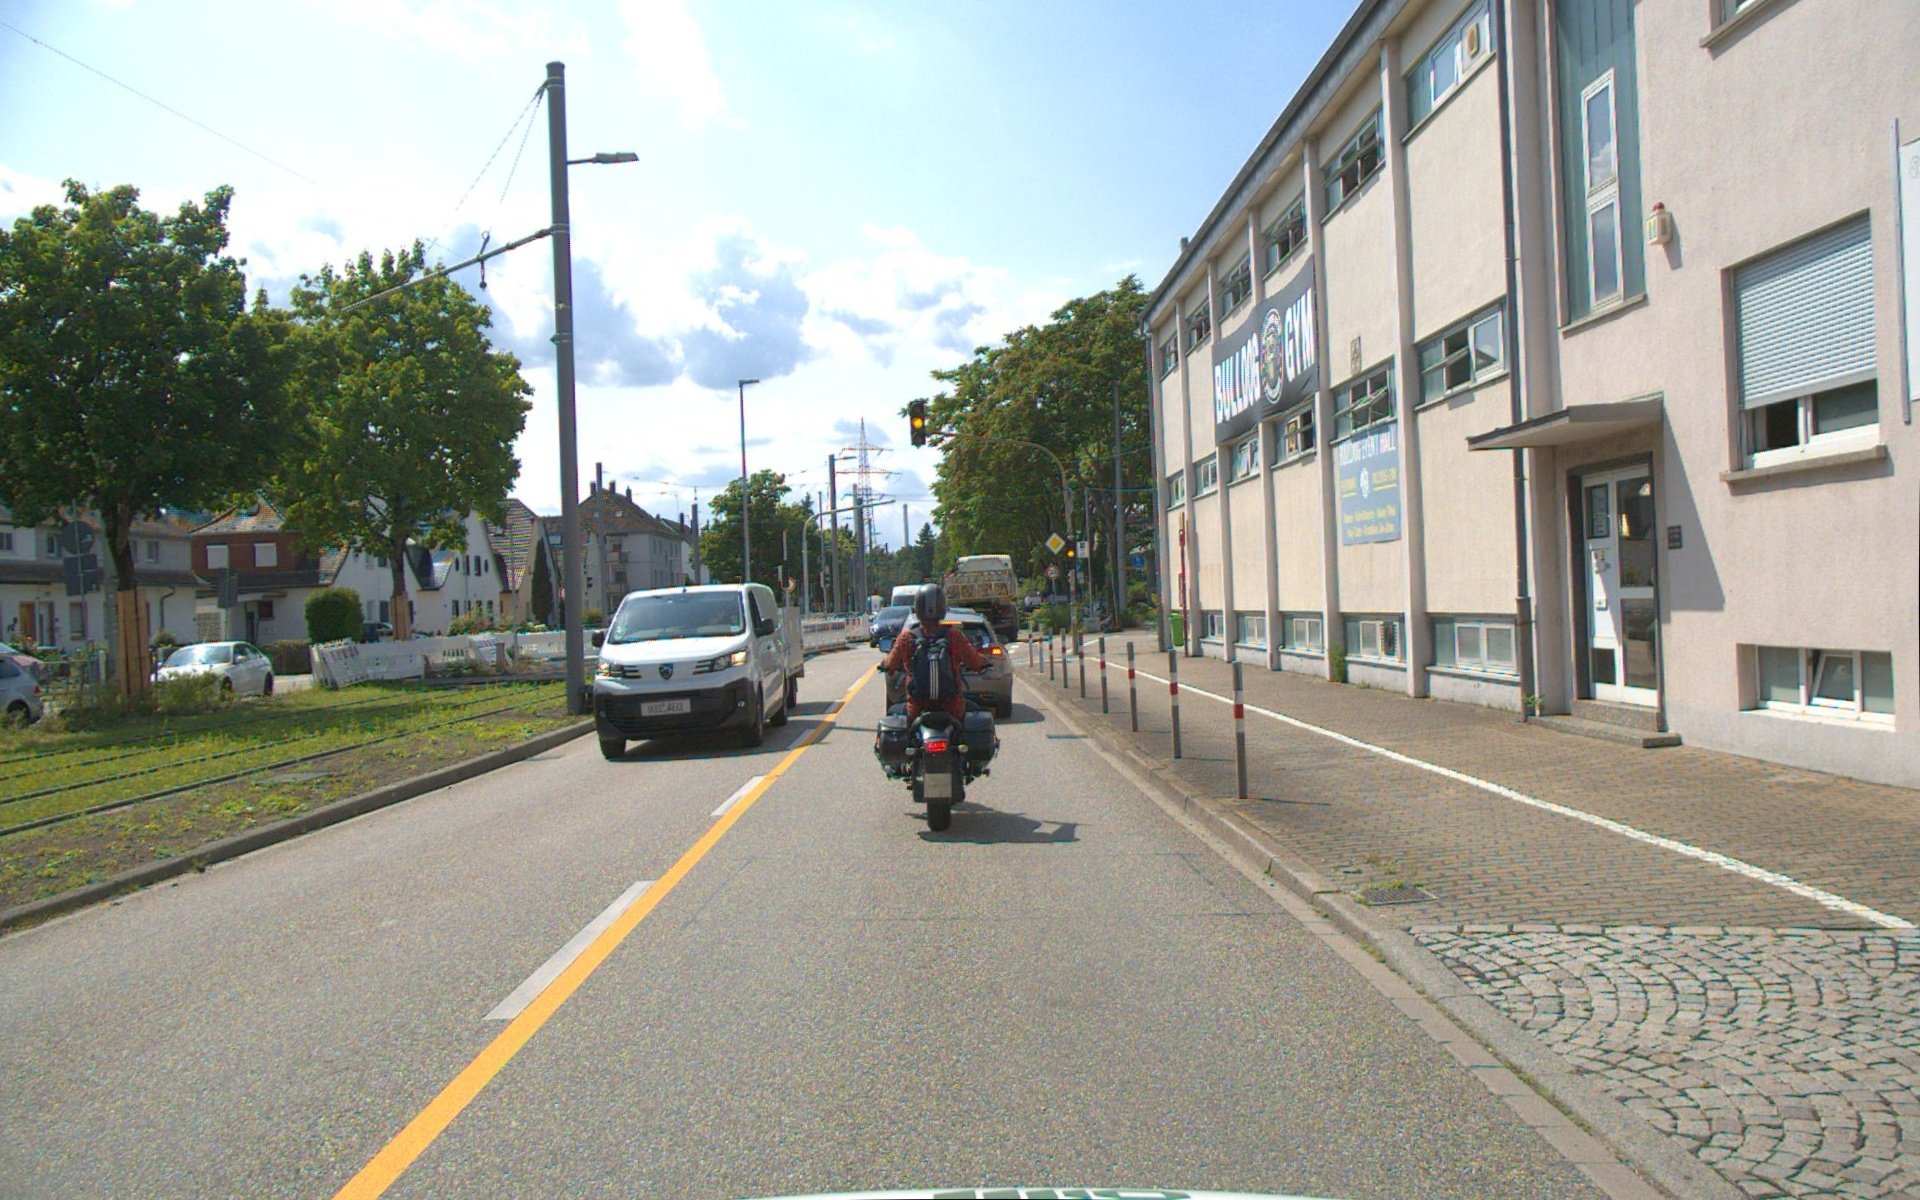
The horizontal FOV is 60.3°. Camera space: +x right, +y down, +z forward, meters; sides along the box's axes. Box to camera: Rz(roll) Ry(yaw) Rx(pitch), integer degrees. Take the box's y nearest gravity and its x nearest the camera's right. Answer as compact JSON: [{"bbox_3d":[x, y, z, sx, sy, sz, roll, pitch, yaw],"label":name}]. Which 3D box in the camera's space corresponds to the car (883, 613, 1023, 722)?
[{"bbox_3d":[-0.185,0.917,24.106,1.698,1.428,4.082,0,0,-5],"label":"car"}]

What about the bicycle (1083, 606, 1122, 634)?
[{"bbox_3d":[6.268,0.867,72.814,1.672,1.192,0.438,-1,-1,4],"label":"bicycle"}]

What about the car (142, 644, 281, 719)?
[{"bbox_3d":[-16.666,1.772,37.040,1.511,1.400,4.246,-4,0,-6],"label":"car"}]

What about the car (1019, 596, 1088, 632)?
[{"bbox_3d":[5.274,0.767,93.004,1.773,1.959,3.972,-2,-1,44],"label":"car"}]

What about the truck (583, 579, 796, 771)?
[{"bbox_3d":[-3.193,0.792,20.571,1.783,1.942,5.115,-4,1,-1],"label":"truck"}]

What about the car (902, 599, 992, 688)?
[{"bbox_3d":[-0.236,0.941,38.252,1.862,1.742,4.720,-3,1,1],"label":"car"}]

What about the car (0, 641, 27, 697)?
[{"bbox_3d":[-28.836,2.033,46.719,3.906,1.536,1.725,-3,0,-2],"label":"car"}]

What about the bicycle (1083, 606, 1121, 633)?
[{"bbox_3d":[6.293,0.876,73.286,1.672,1.192,0.438,-1,-1,4],"label":"bicycle"}]

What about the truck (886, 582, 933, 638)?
[{"bbox_3d":[-2.472,0.445,82.134,2.050,2.519,5.196,-4,1,0],"label":"truck"}]

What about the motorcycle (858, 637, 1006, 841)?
[{"bbox_3d":[-0.189,0.904,11.665,0.923,1.221,2.472,-1,0,-1],"label":"motorcycle"}]

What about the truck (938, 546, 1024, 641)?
[{"bbox_3d":[0.829,-0.171,60.553,2.906,3.229,7.765,-1,-1,2],"label":"truck"}]

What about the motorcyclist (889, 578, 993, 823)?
[{"bbox_3d":[-0.131,0.679,11.434,0.684,1.632,0.692,-1,-1,-1],"label":"motorcyclist"}]

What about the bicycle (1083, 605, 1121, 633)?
[{"bbox_3d":[6.329,0.847,73.883,1.672,1.192,0.438,-1,-1,4],"label":"bicycle"}]

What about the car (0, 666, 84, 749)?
[{"bbox_3d":[-15.744,1.767,26.448,1.472,1.197,3.747,-3,0,-1],"label":"car"}]

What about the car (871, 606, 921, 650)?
[{"bbox_3d":[-2.377,1.026,62.250,1.611,1.524,4.269,-2,0,0],"label":"car"}]

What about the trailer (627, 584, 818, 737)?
[{"bbox_3d":[-3.379,0.838,24.672,2.021,1.867,5.484,-5,-1,-1],"label":"trailer"}]
